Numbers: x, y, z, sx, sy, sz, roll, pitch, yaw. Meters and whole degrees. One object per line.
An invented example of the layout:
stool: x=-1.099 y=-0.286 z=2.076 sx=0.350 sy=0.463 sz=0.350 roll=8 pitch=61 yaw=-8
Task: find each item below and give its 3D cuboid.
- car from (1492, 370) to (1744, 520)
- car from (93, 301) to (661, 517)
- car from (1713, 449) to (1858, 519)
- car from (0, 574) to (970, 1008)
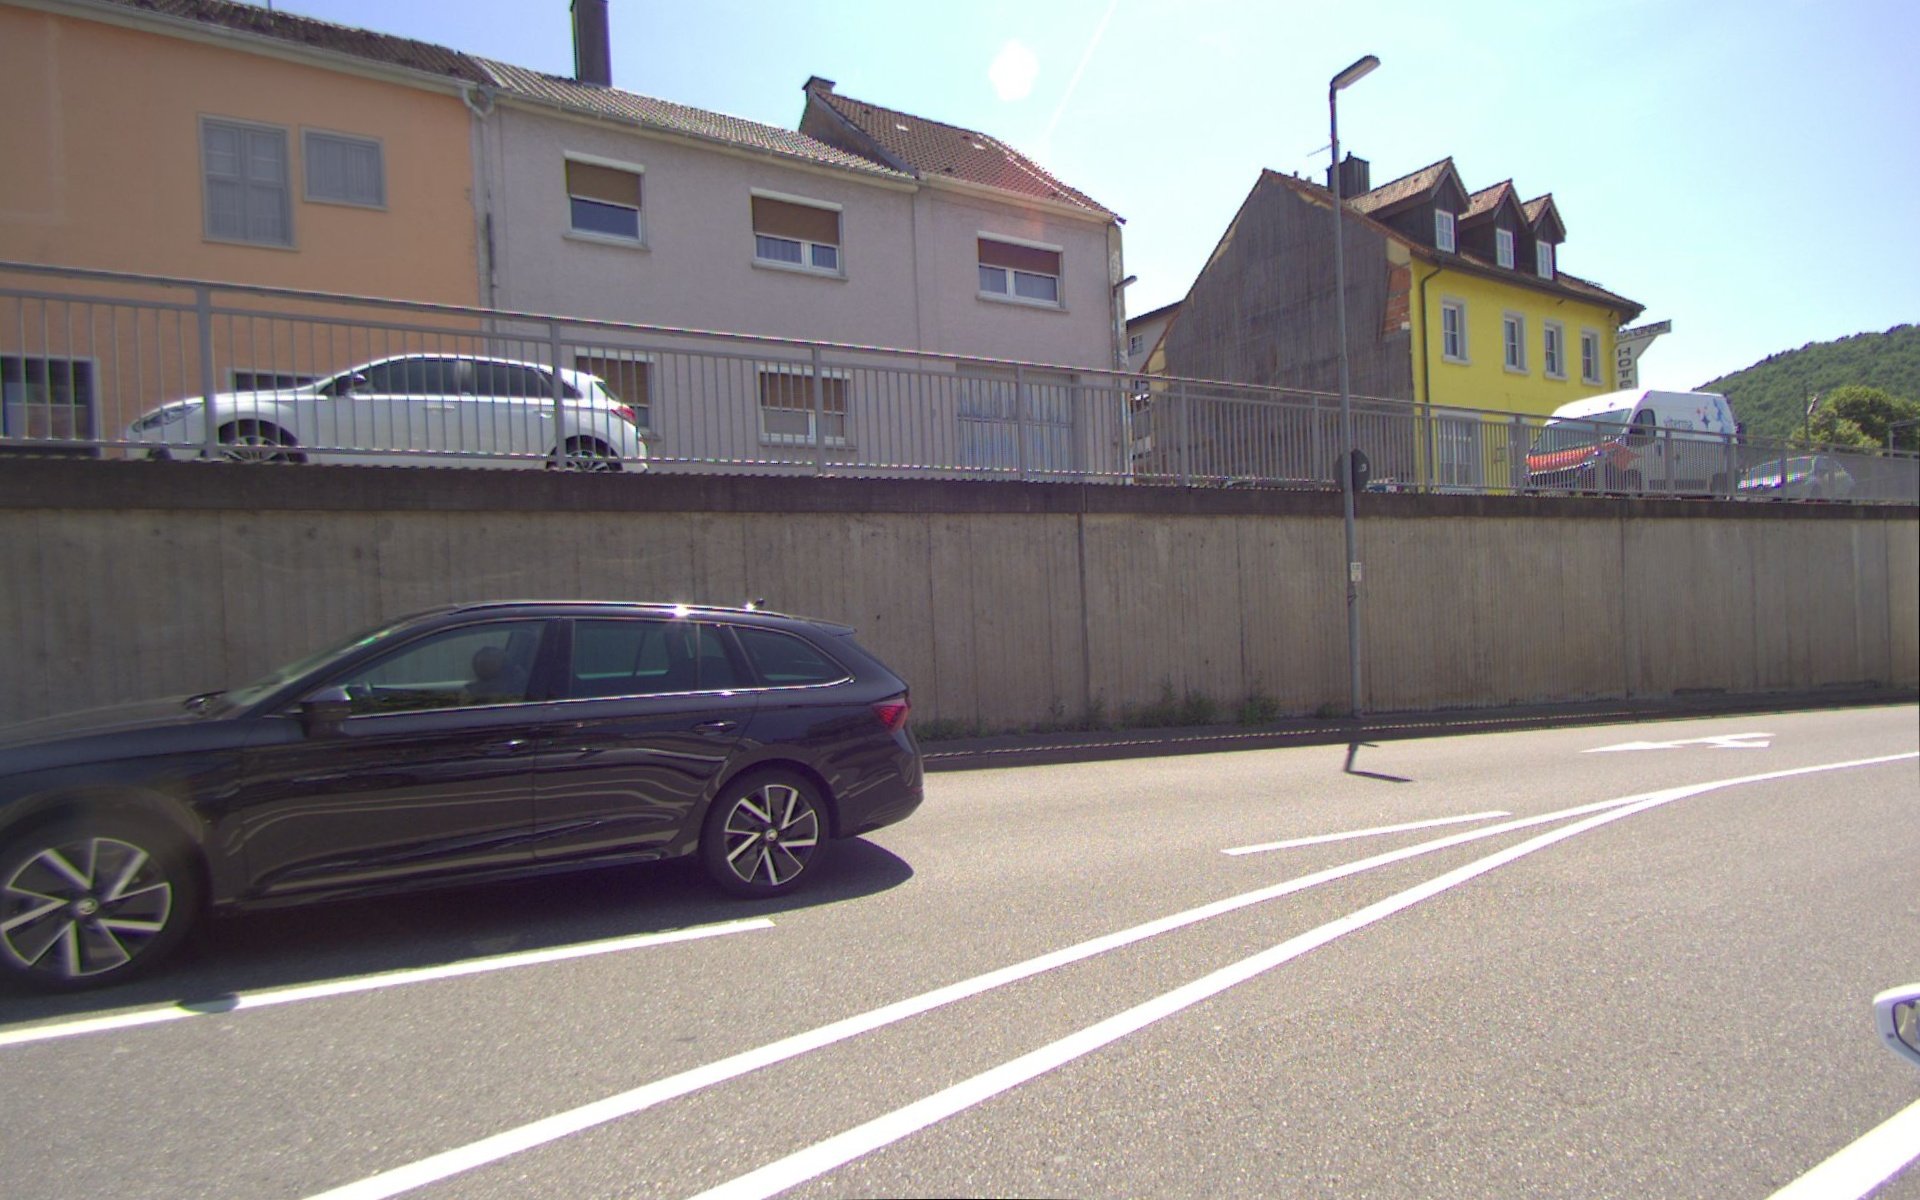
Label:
car: x=13.606 y=-3.010 z=20.663 sx=5.593 sy=2.571 sz=2.056 roll=-2 pitch=2 yaw=-30
car: x=-5.262 y=-1.603 z=9.559 sx=4.265 sy=1.482 sz=1.802 roll=-3 pitch=2 yaw=-35
car: x=20.832 y=-2.866 z=25.314 sx=3.997 sy=1.521 sz=1.610 roll=-2 pitch=2 yaw=-31
car: x=-2.240 y=0.703 z=5.177 sx=4.318 sy=1.509 sz=1.752 roll=1 pitch=-1 yaw=-31
